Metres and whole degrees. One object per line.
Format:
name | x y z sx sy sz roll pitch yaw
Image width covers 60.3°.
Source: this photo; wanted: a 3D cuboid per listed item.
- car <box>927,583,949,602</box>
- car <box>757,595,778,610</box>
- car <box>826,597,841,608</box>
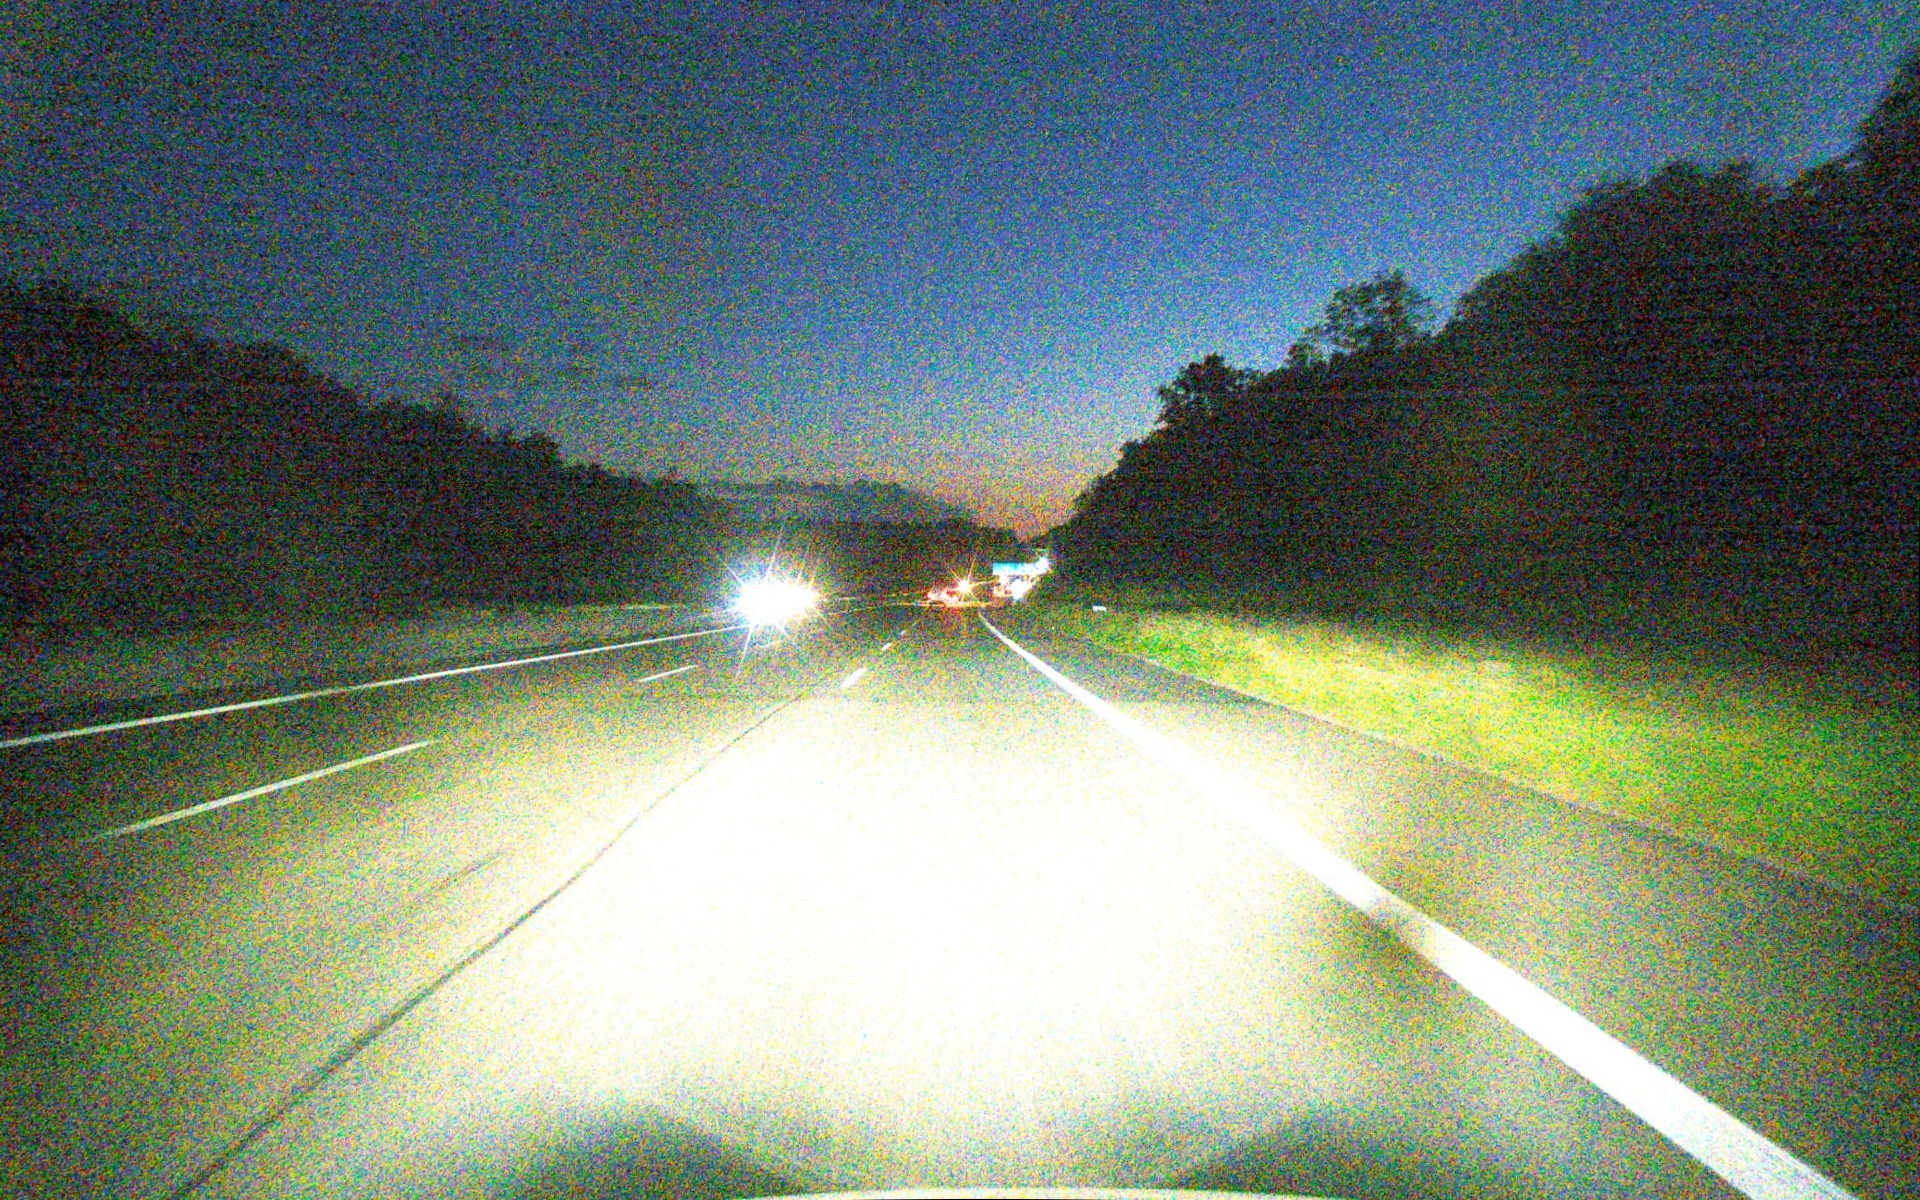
car | -2.694 -0.931 205.106 2.459 2.354 4.971 0 0 1
car | -22.339 0.292 192.043 2.009 1.626 5.075 0 0 -2
car | -17.675 0.348 230.922 1.823 1.524 4.705 0 0 0
